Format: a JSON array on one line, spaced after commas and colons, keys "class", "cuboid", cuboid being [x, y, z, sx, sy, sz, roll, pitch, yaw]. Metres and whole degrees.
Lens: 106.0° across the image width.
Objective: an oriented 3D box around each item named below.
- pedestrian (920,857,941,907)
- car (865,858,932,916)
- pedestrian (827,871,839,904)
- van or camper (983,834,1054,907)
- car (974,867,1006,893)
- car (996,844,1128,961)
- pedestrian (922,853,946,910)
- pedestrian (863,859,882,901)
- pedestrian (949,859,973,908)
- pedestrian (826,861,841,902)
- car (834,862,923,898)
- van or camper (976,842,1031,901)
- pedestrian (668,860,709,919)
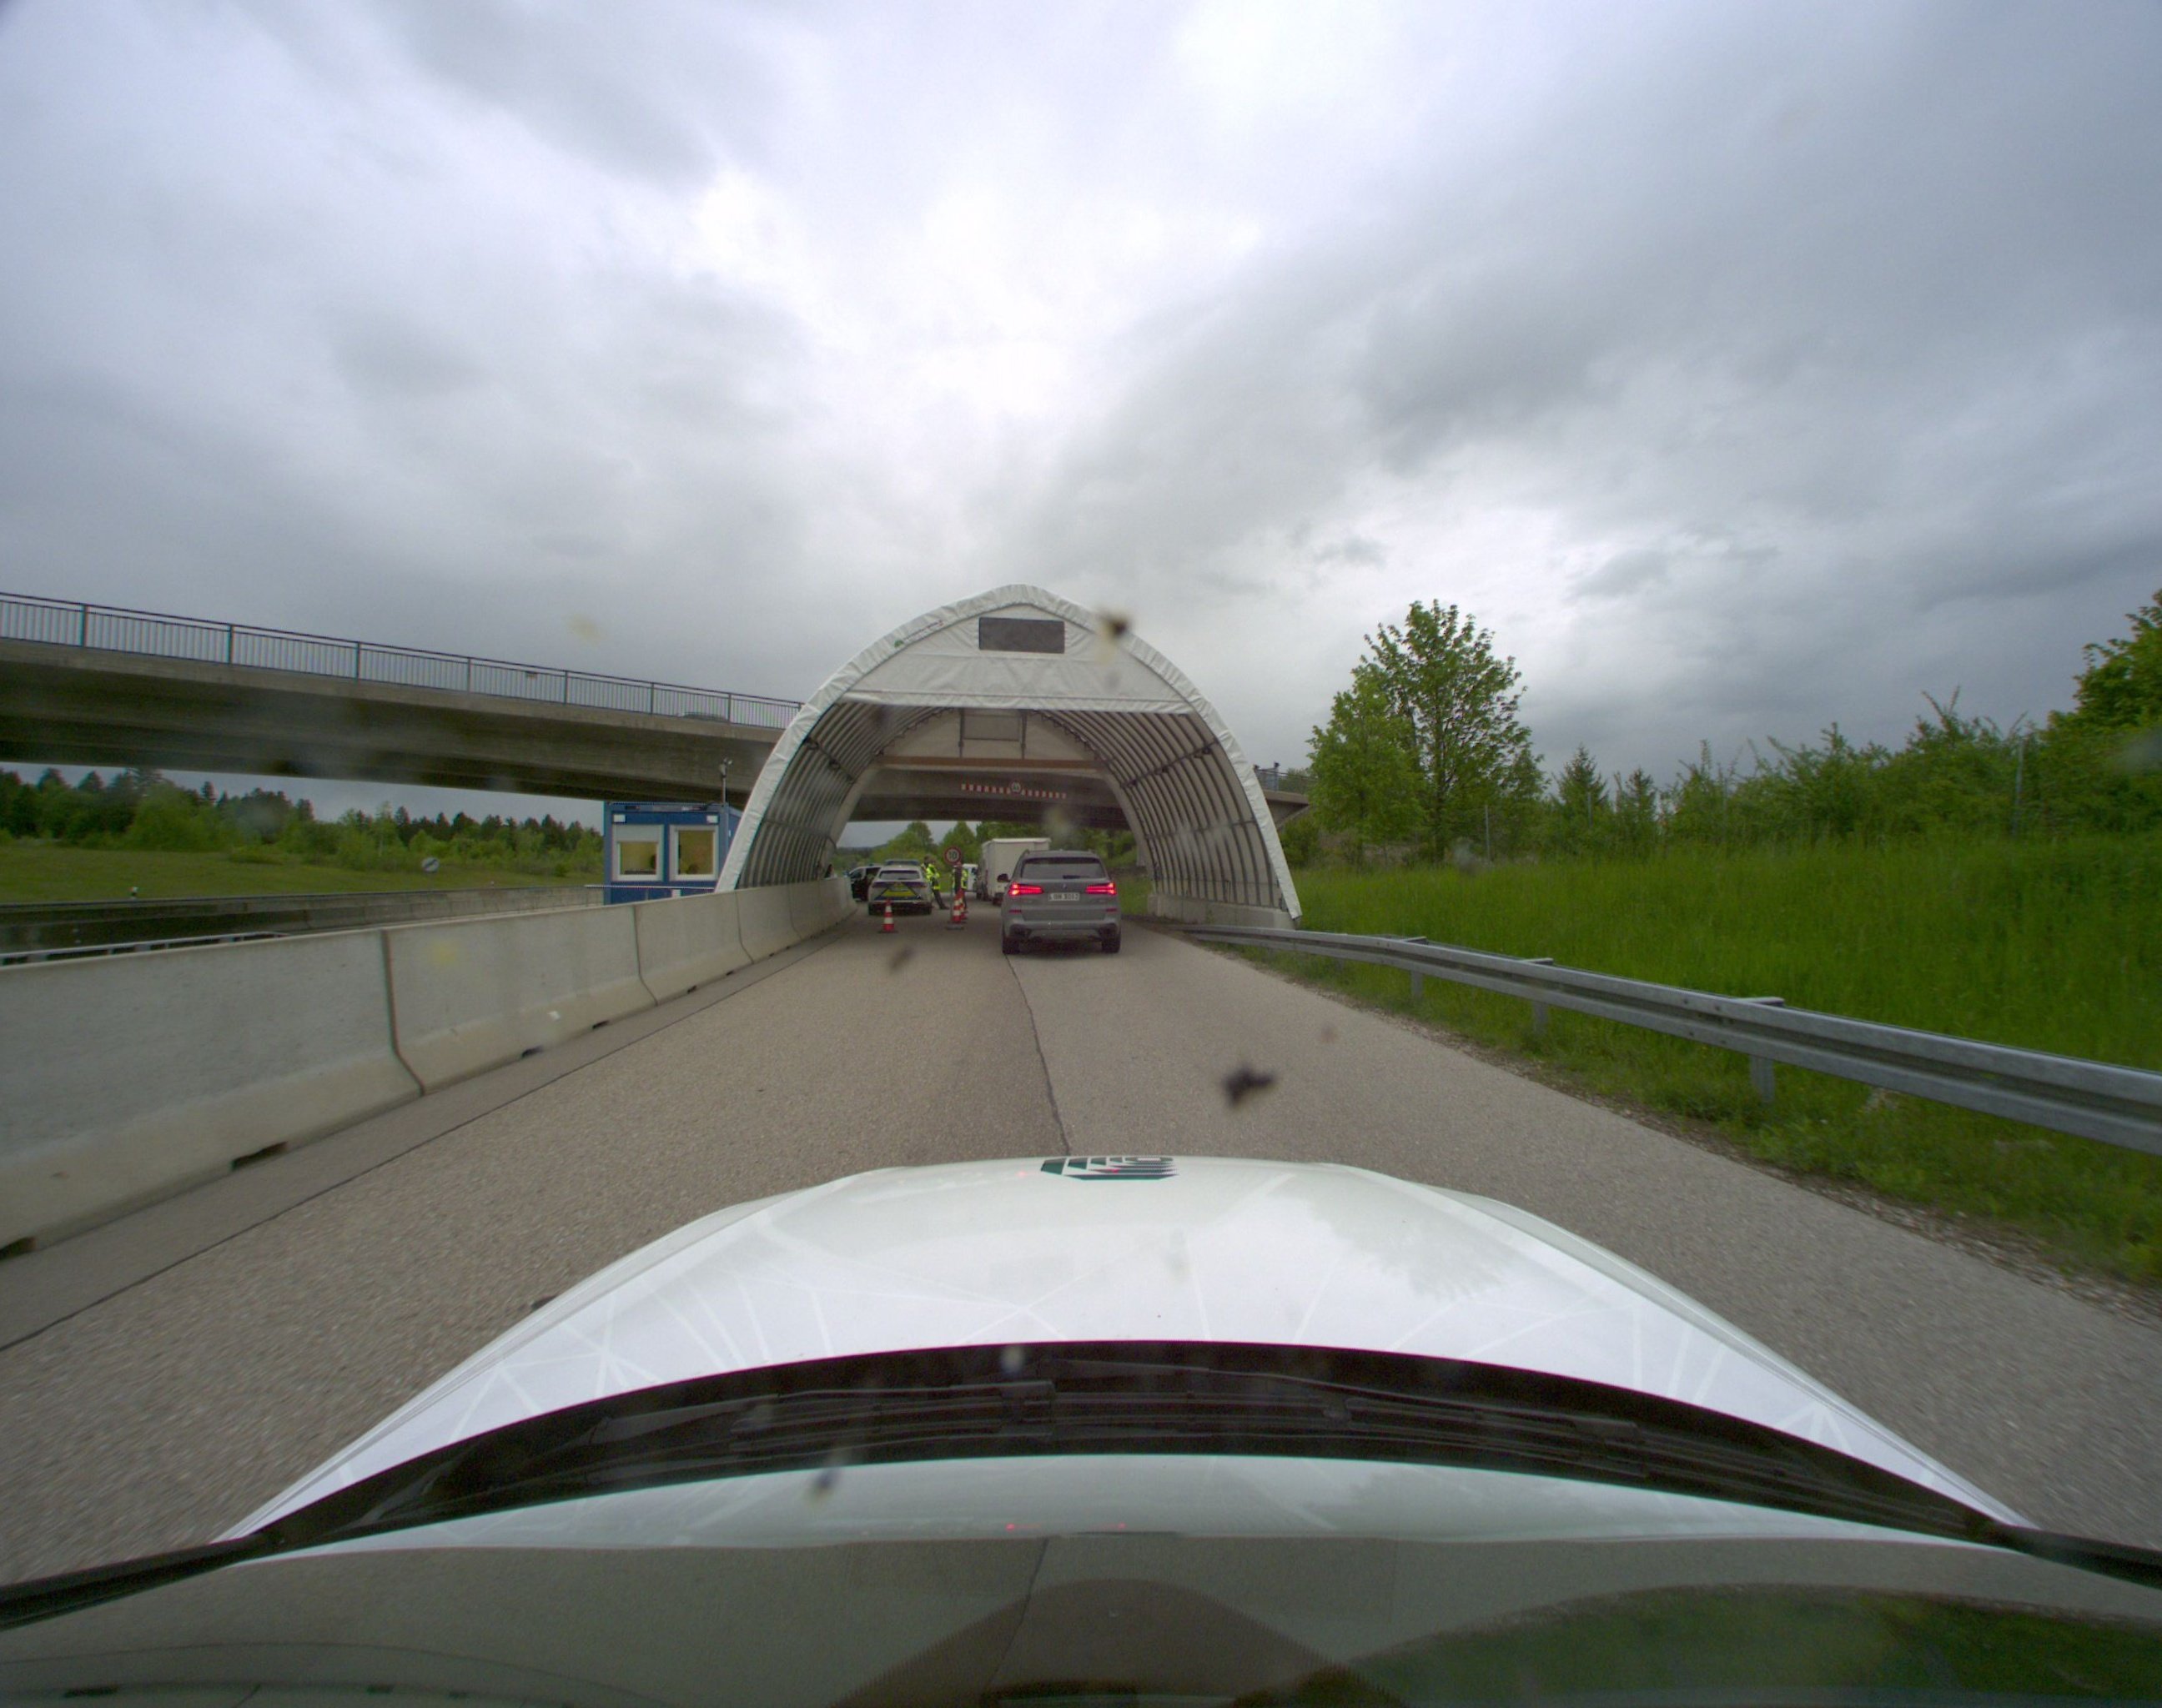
[{"class": "pedestrian", "cuboid": [-5.386, 1.006, 29.162, 0.607, 1.754, 0.665, -1, -1, -4]}, {"class": "car", "cuboid": [-5.782, 1.000, 25.947, 1.879, 1.647, 3.983, -1, -1, -12]}, {"class": "pedestrian", "cuboid": [-11.891, 1.595, 39.081, 0.503, 1.546, 0.460, -1, -1, -18]}, {"class": "van or camper", "cuboid": [-2.623, 0.653, 32.256, 2.229, 2.552, 6.589, -1, -1, -9]}, {"class": "car", "cuboid": [-6.588, 1.827, 58.440, 1.994, 1.722, 3.882, -1, -1, -11]}, {"class": "car", "cuboid": [-0.493, 0.780, 14.690, 1.992, 1.766, 3.990, -1, -1, -7]}, {"class": "pedestrian", "cuboid": [-5.084, 0.932, 28.118, 0.750, 1.919, 0.759, -1, -1, -13]}, {"class": "pedestrian", "cuboid": [-10.281, 1.269, 40.115, 0.698, 2.014, 0.692, -1, -1, 1]}, {"class": "pedestrian", "cuboid": [-4.257, 1.035, 28.823, 0.780, 1.722, 0.754, -1, -1, -12]}, {"class": "pedestrian", "cuboid": [-12.483, 1.372, 41.077, 0.625, 2.014, 0.653, -1, -1, -14]}, {"class": "car", "cuboid": [-12.008, 1.541, 48.441, 4.777, 2.014, 1.845, -1, -1, 9]}, {"class": "van or camper", "cuboid": [-3.718, 0.811, 38.278, 2.104, 2.519, 5.531, -1, -1, -10]}, {"class": "pedestrian", "cuboid": [-9.261, 0.828, 19.230, 0.606, 1.373, 0.629, -2, -1, 10]}]
